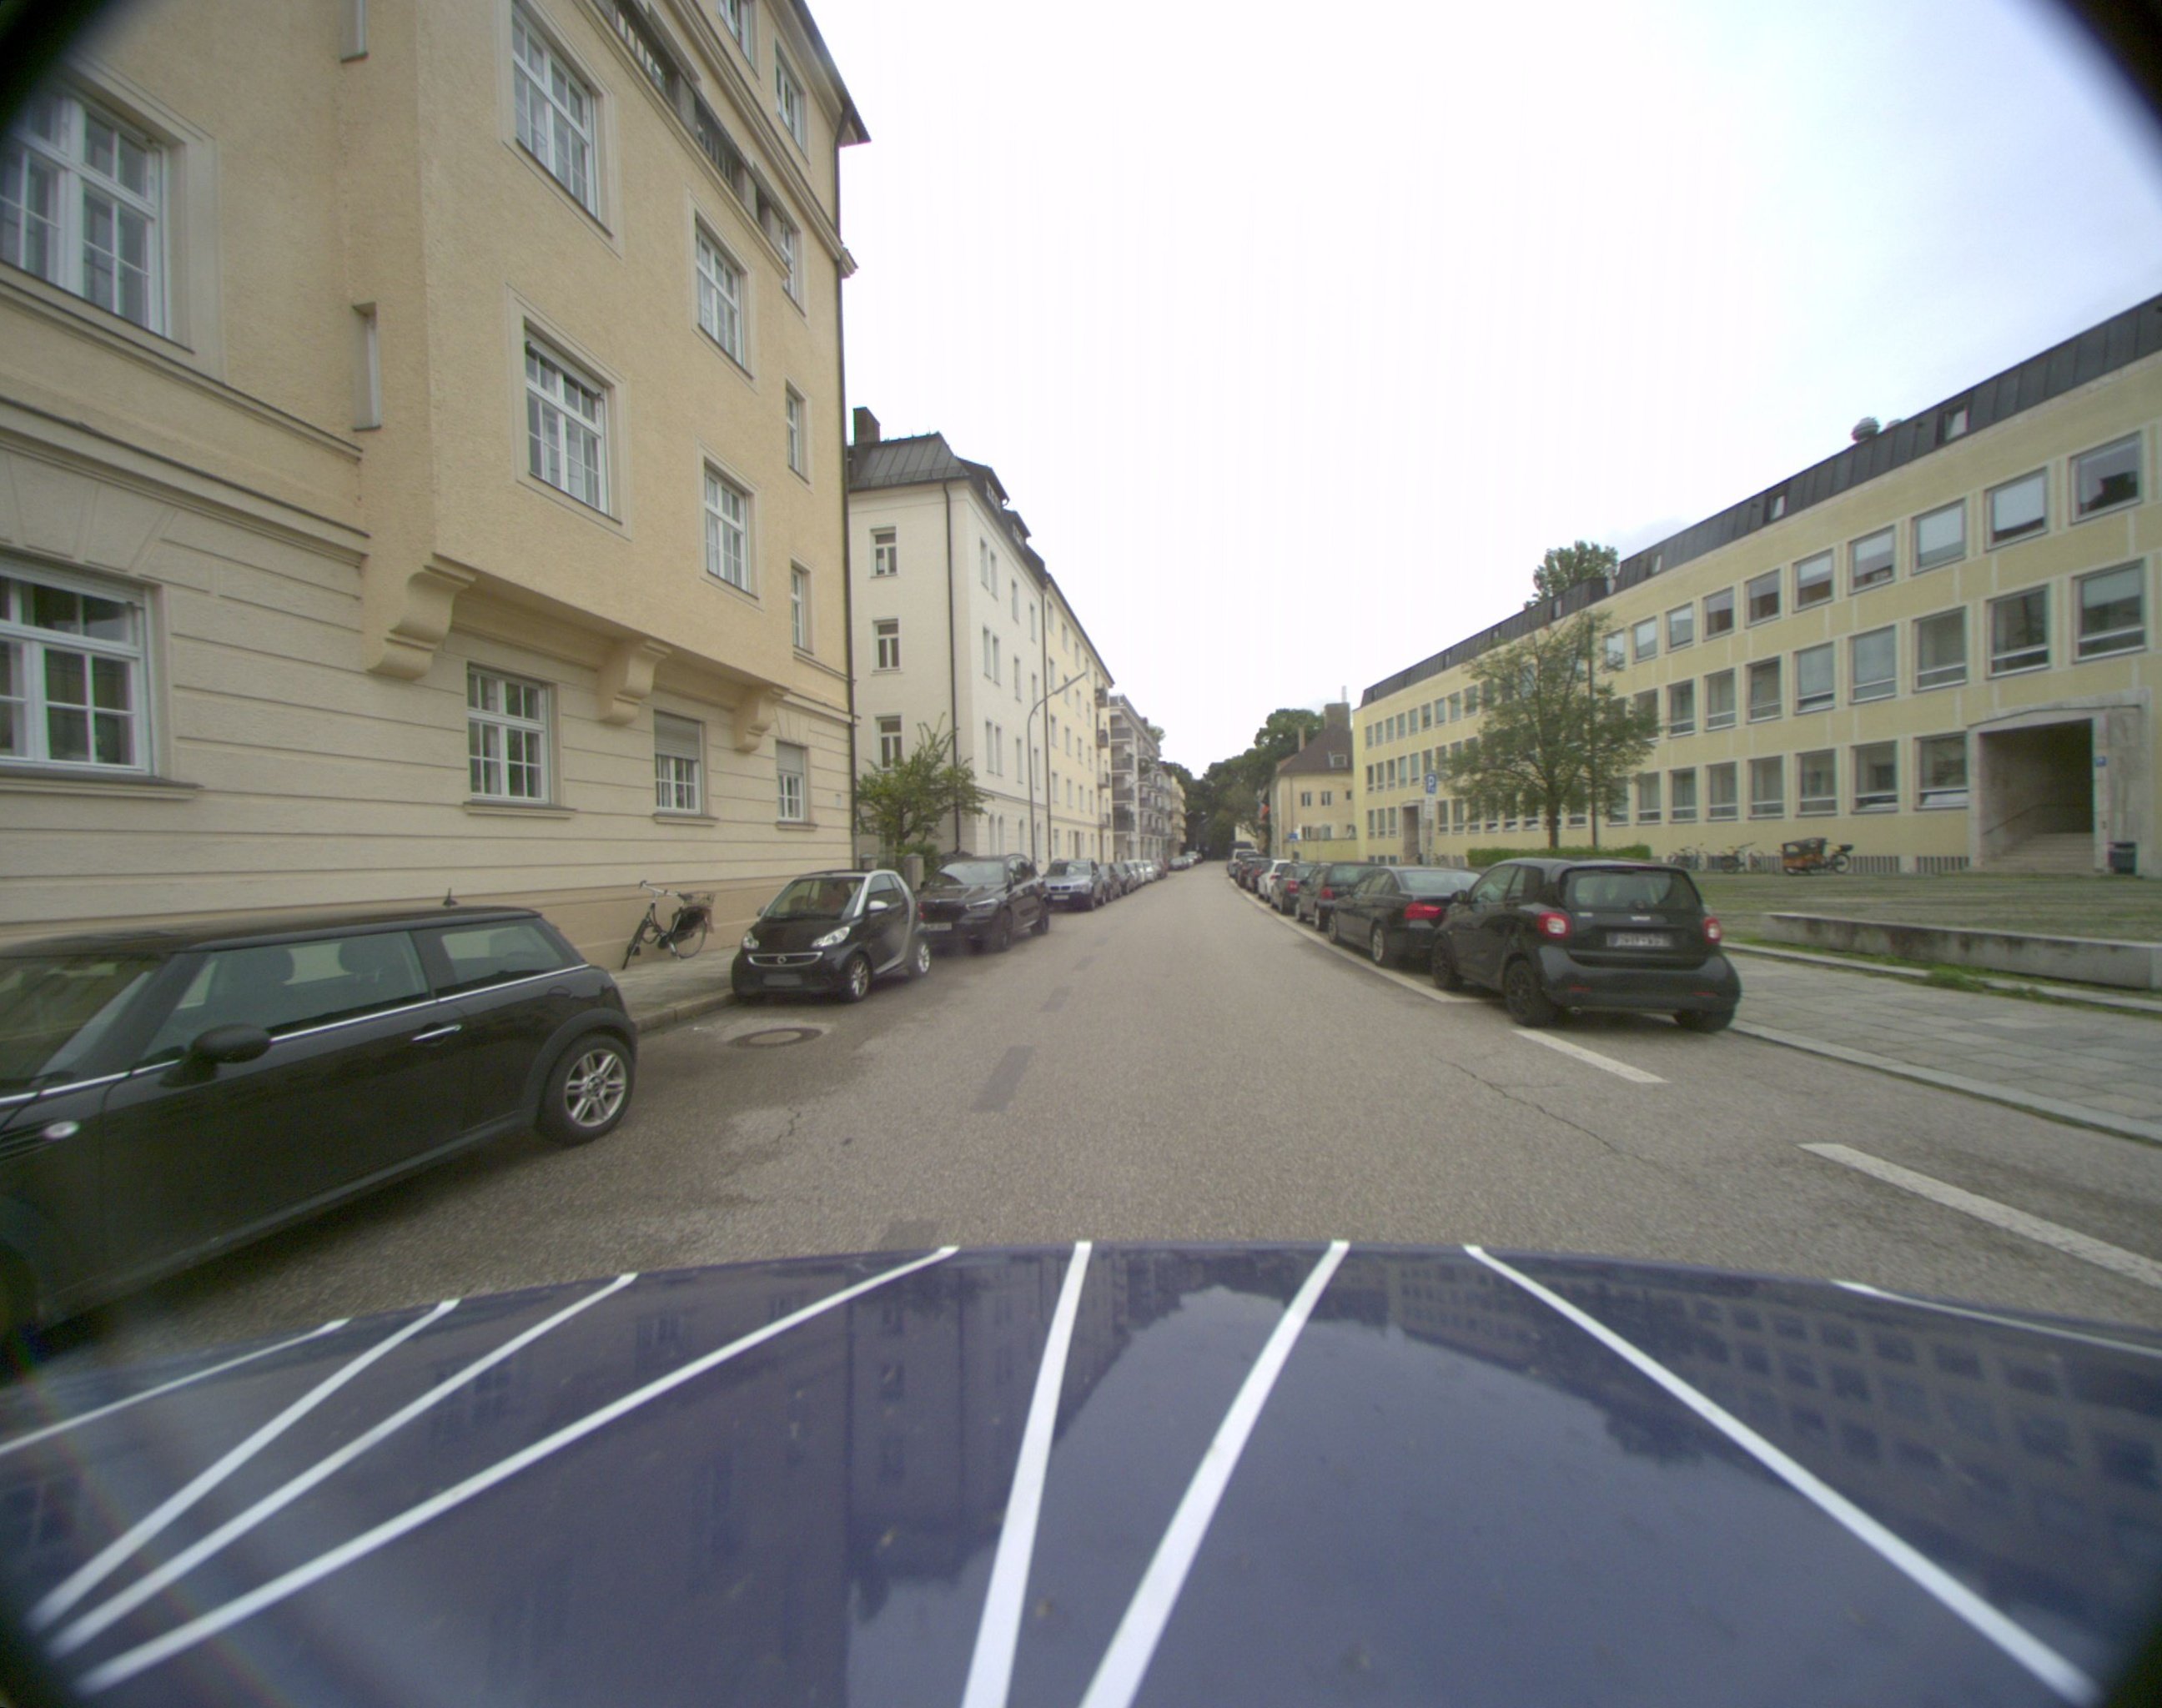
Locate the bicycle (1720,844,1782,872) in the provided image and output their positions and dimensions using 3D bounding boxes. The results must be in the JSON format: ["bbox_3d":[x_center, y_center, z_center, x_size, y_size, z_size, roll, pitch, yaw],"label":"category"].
[{"bbox_3d":[25.344,0.148,28.747,1.953,1.008,0.625,-2,0,-7],"label":"bicycle"}]

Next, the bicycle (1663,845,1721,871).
[{"bbox_3d":[25.015,0.155,31.117,1.953,1.008,0.625,-2,0,-7],"label":"bicycle"}]

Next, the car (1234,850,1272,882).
[{"bbox_3d":[9.590,0.645,42.647,1.747,1.656,4.452,2,1,9],"label":"car"}]

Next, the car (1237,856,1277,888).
[{"bbox_3d":[8.617,0.857,37.372,1.683,1.445,3.872,0,0,9],"label":"car"}]

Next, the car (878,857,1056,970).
[{"bbox_3d":[-1.963,1.004,14.847,1.872,1.707,4.869,-3,0,10],"label":"car"}]

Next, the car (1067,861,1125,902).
[{"bbox_3d":[0.658,1.032,30.089,1.682,1.419,4.090,-2,0,10],"label":"car"}]

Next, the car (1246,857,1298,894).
[{"bbox_3d":[8.010,0.876,32.219,1.660,1.445,3.976,0,0,7],"label":"car"}]

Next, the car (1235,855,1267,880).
[{"bbox_3d":[10.634,0.808,47.848,1.747,1.379,3.921,-3,0,10],"label":"car"}]

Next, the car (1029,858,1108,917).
[{"bbox_3d":[-0.287,1.012,24.594,1.725,1.625,4.460,-2,0,10],"label":"car"}]

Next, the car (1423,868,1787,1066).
[{"bbox_3d":[4.804,0.917,7.502,1.674,1.493,2.978,0,0,4],"label":"car"}]

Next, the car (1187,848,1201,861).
[{"bbox_3d":[17.767,0.027,119.356,1.870,2.002,4.271,-2,0,12],"label":"car"}]

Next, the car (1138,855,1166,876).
[{"bbox_3d":[5.220,0.798,55.116,1.682,1.402,4.424,-2,0,9],"label":"car"}]

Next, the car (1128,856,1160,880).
[{"bbox_3d":[4.162,0.886,49.888,1.682,1.402,4.446,-2,0,9],"label":"car"}]

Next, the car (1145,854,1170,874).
[{"bbox_3d":[6.097,0.785,60.454,1.682,1.489,3.826,-2,0,9],"label":"car"}]

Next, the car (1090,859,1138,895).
[{"bbox_3d":[1.588,1.015,34.989,1.682,1.419,4.394,-2,0,9],"label":"car"}]

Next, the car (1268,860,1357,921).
[{"bbox_3d":[6.250,0.906,20.967,1.758,1.445,4.399,0,0,9],"label":"car"}]

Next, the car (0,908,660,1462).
[{"bbox_3d":[-3.949,1.131,3.143,1.711,1.439,3.832,-3,0,11],"label":"car"}]

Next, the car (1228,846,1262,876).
[{"bbox_3d":[11.279,0.467,52.550,1.932,1.967,5.025,-1,0,8],"label":"car"}]

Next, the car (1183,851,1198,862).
[{"bbox_3d":[15.950,0.372,110.869,1.764,1.448,3.751,-2,0,13],"label":"car"}]

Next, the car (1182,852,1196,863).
[{"bbox_3d":[14.923,0.463,104.514,1.765,1.448,3.750,-2,0,10],"label":"car"}]

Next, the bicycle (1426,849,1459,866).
[{"bbox_3d":[23.863,0.216,50.136,1.953,1.008,0.580,-3,0,-7],"label":"bicycle"}]

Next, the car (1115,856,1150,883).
[{"bbox_3d":[3.121,0.887,45.268,1.682,1.473,4.169,-2,0,9],"label":"car"}]

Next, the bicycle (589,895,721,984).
[{"bbox_3d":[-6.189,1.193,11.172,0.580,1.076,1.954,1,0,10],"label":"bicycle"}]

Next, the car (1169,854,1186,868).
[{"bbox_3d":[10.601,0.713,83.485,1.783,1.385,4.248,-2,0,7],"label":"car"}]

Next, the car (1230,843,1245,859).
[{"bbox_3d":[24.462,-0.504,118.800,2.102,2.418,4.553,-2,0,13],"label":"car"}]

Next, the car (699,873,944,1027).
[{"bbox_3d":[-3.106,1.091,9.755,1.537,1.515,3.113,-3,0,11],"label":"car"}]

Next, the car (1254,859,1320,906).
[{"bbox_3d":[7.079,0.925,26.434,1.660,1.445,4.075,0,0,7],"label":"car"}]

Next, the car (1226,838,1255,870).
[{"bbox_3d":[13.770,-0.044,65.510,2.301,2.630,5.658,0,0,12],"label":"car"}]

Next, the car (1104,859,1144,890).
[{"bbox_3d":[2.326,1.050,39.880,1.682,1.419,4.169,-2,0,9],"label":"car"}]

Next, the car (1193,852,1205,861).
[{"bbox_3d":[20.896,0.358,134.846,1.870,1.455,4.271,-2,0,12],"label":"car"}]

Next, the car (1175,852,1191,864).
[{"bbox_3d":[12.468,0.478,92.729,1.765,1.448,3.750,-2,0,10],"label":"car"}]

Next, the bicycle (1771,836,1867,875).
[{"bbox_3d":[25.344,0.052,26.116,2.442,1.241,1.056,-2,0,-7],"label":"bicycle"}]

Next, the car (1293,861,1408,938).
[{"bbox_3d":[5.682,0.893,16.405,1.660,1.445,3.314,0,0,7],"label":"car"}]

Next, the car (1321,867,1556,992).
[{"bbox_3d":[5.023,0.951,11.438,1.803,1.398,4.457,0,0,6],"label":"car"}]
